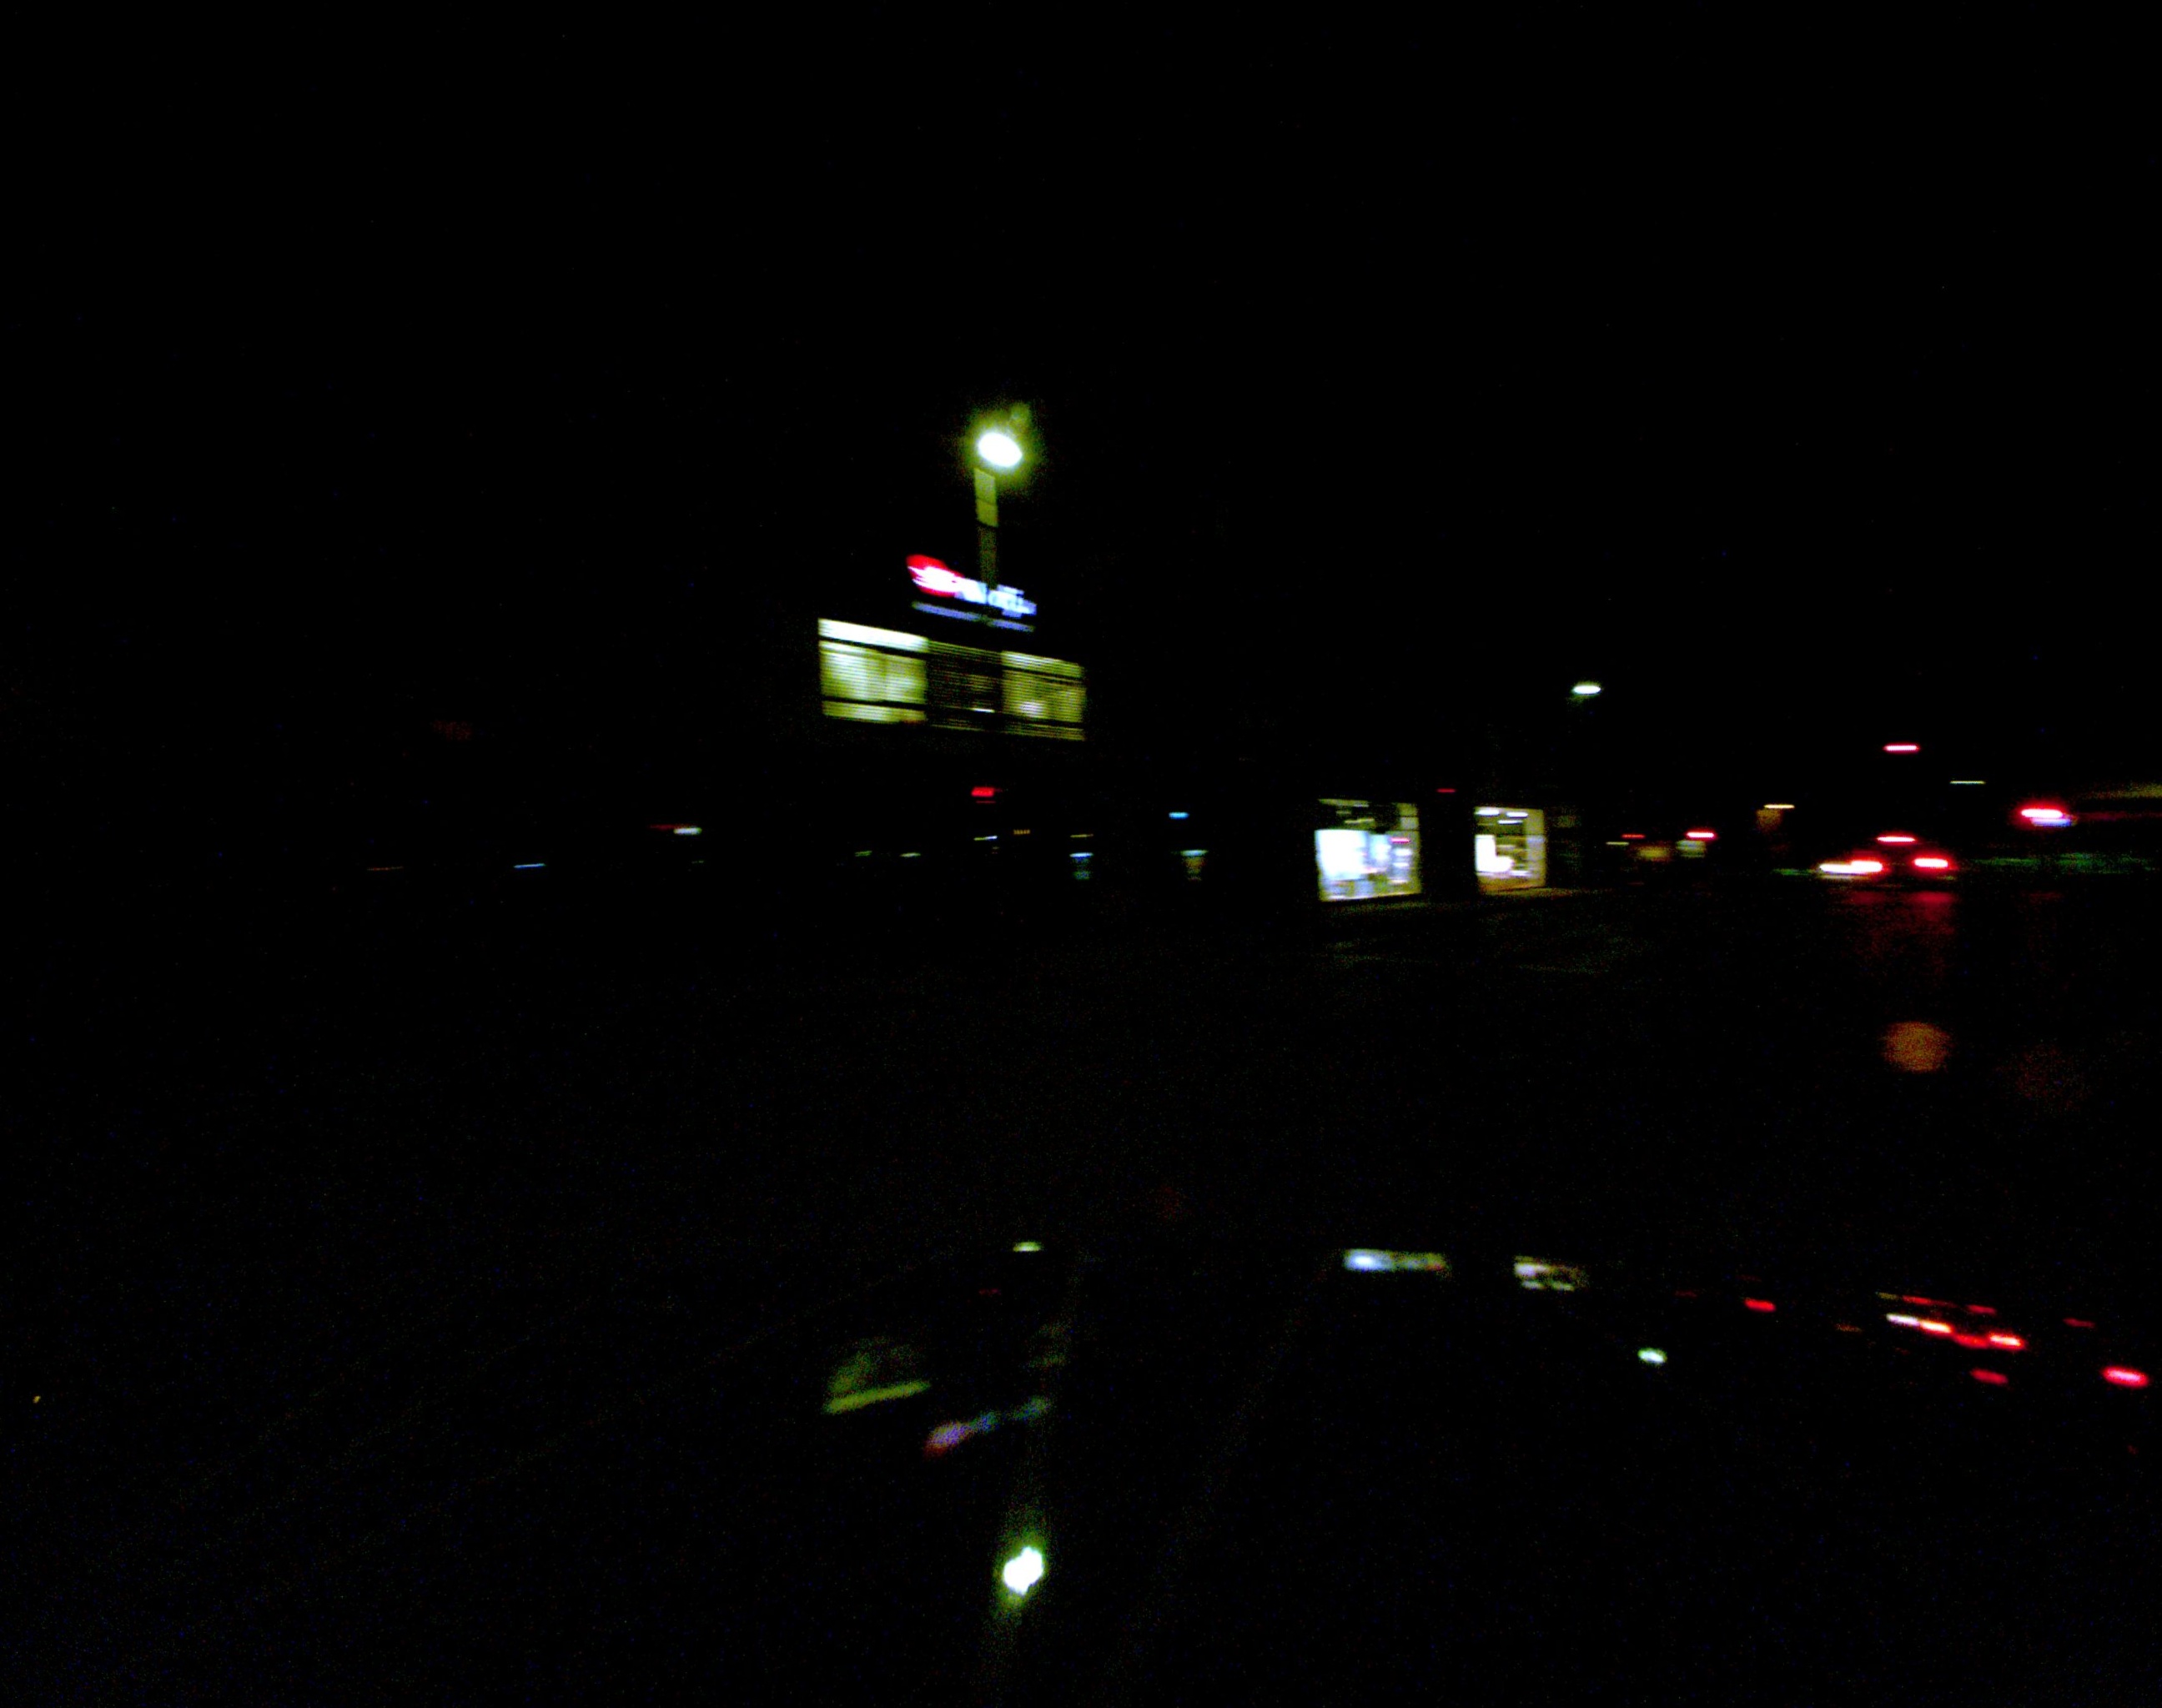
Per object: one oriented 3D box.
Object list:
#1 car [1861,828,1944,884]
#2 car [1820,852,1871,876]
[{"bbox_3d":[31.342,0.092,29.009,4.427,1.925,1.956,-1,-3,-42],"label":"car"},{"bbox_3d":[54.898,0.685,54.524,4.008,1.562,1.995,-1,-3,-37],"label":"car"}]
